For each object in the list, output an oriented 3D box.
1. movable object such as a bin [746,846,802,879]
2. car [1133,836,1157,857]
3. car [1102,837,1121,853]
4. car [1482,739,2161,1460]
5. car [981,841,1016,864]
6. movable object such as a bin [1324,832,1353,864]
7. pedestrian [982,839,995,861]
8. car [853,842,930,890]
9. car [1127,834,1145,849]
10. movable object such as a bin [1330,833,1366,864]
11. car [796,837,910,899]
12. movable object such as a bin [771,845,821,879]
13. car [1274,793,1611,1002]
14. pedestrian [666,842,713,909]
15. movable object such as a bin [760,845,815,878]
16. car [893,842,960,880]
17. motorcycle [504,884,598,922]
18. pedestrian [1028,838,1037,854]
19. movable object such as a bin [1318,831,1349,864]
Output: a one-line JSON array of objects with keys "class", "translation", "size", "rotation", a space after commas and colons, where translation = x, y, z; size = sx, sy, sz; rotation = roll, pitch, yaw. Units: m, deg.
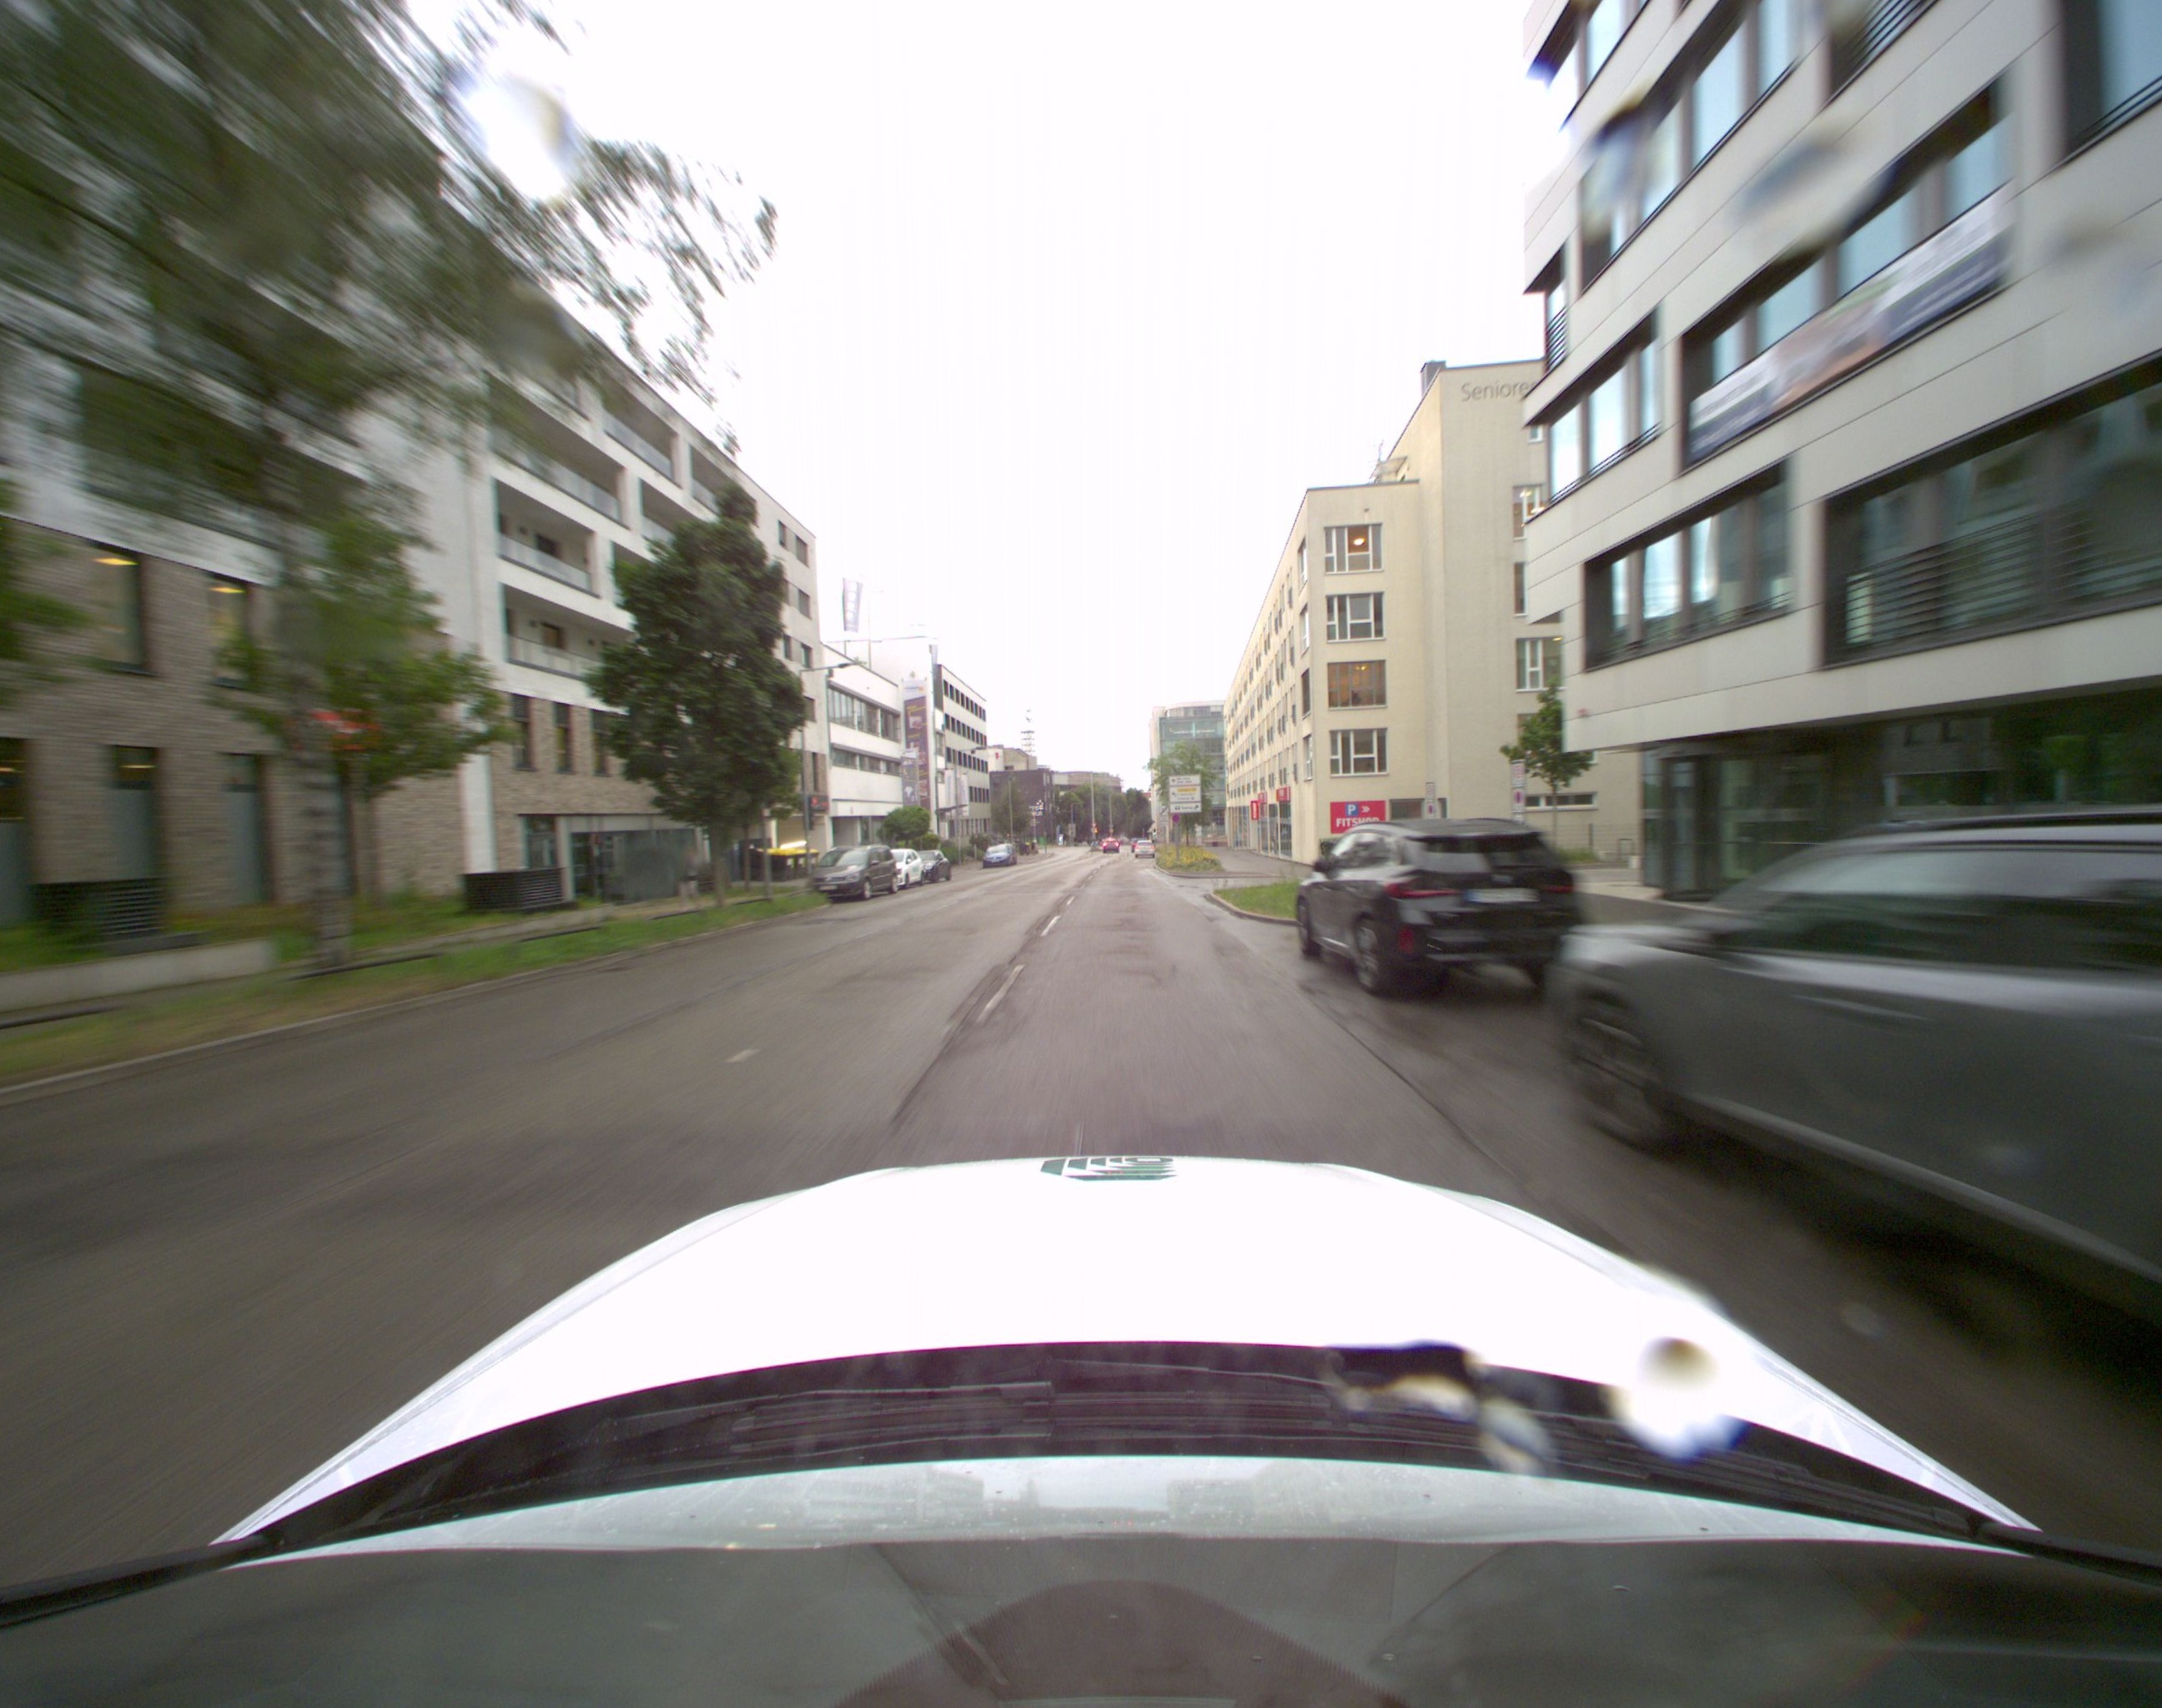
[{"class": "movable object such as a bin", "translation": [-13.727, 0.382, 36.493], "size": [2.021, 1.429, 1.289], "rotation": [0, 1, -1]}, {"class": "car", "translation": [5.439, -0.658, 69.394], "size": [1.984, 1.576, 4.001], "rotation": [-2, 2, 4]}, {"class": "car", "translation": [3.602, -1.035, 96.238], "size": [2.133, 1.728, 4.003], "rotation": [-2, 0, 2]}, {"class": "car", "translation": [3.303, 0.516, 2.865], "size": [1.742, 1.605, 4.376], "rotation": [-2, 0, 2]}, {"class": "car", "translation": [-5.520, -0.119, 55.140], "size": [1.908, 1.481, 4.356], "rotation": [-2, 0, 0]}, {"class": "movable object such as a bin", "translation": [11.818, -0.273, 37.401], "size": [1.016, 1.402, 1.059], "rotation": [-2, 1, 4]}, {"class": "pedestrian", "translation": [-7.374, -0.303, 64.857], "size": [0.732, 1.708, 0.896], "rotation": [-3, 0, -25]}, {"class": "car", "translation": [-7.076, 0.386, 30.835], "size": [1.766, 1.600, 4.034], "rotation": [-2, 1, 2]}, {"class": "car", "translation": [6.385, -1.471, 95.155], "size": [1.985, 1.749, 3.675], "rotation": [-2, 1, 3]}, {"class": "movable object such as a bin", "translation": [11.856, -0.235, 36.247], "size": [1.229, 1.320, 1.193], "rotation": [-3, 0, 4]}, {"class": "car", "translation": [-6.990, 0.349, 25.586], "size": [2.070, 1.609, 4.687], "rotation": [-3, 1, 1]}, {"class": "movable object such as a bin", "translation": [-13.735, 0.370, 39.342], "size": [1.790, 1.510, 1.481], "rotation": [-4, 1, -1]}, {"class": "car", "translation": [3.535, 0.287, 9.068], "size": [1.800, 1.679, 4.716], "rotation": [-2, 2, 2]}, {"class": "pedestrian", "translation": [-10.368, 0.548, 21.606], "size": [0.706, 1.683, 0.956], "rotation": [-2, 1, -2]}, {"class": "movable object such as a bin", "translation": [-13.616, 0.341, 37.866], "size": [2.048, 1.423, 1.316], "rotation": [-1, 1, -1]}, {"class": "car", "translation": [-6.679, 0.258, 35.556], "size": [1.789, 1.516, 4.250], "rotation": [-2, 0, 4]}, {"class": "motorcycle", "translation": [-12.229, 1.133, 18.794], "size": [1.987, 0.807, 0.721], "rotation": [-2, 1, 20]}, {"class": "pedestrian", "translation": [-5.760, -0.956, 96.954], "size": [0.959, 1.955, 0.776], "rotation": [-2, 0, -10]}, {"class": "movable object such as a bin", "translation": [11.892, -0.304, 38.421], "size": [1.168, 1.503, 1.015], "rotation": [-2, 1, 5]}]
